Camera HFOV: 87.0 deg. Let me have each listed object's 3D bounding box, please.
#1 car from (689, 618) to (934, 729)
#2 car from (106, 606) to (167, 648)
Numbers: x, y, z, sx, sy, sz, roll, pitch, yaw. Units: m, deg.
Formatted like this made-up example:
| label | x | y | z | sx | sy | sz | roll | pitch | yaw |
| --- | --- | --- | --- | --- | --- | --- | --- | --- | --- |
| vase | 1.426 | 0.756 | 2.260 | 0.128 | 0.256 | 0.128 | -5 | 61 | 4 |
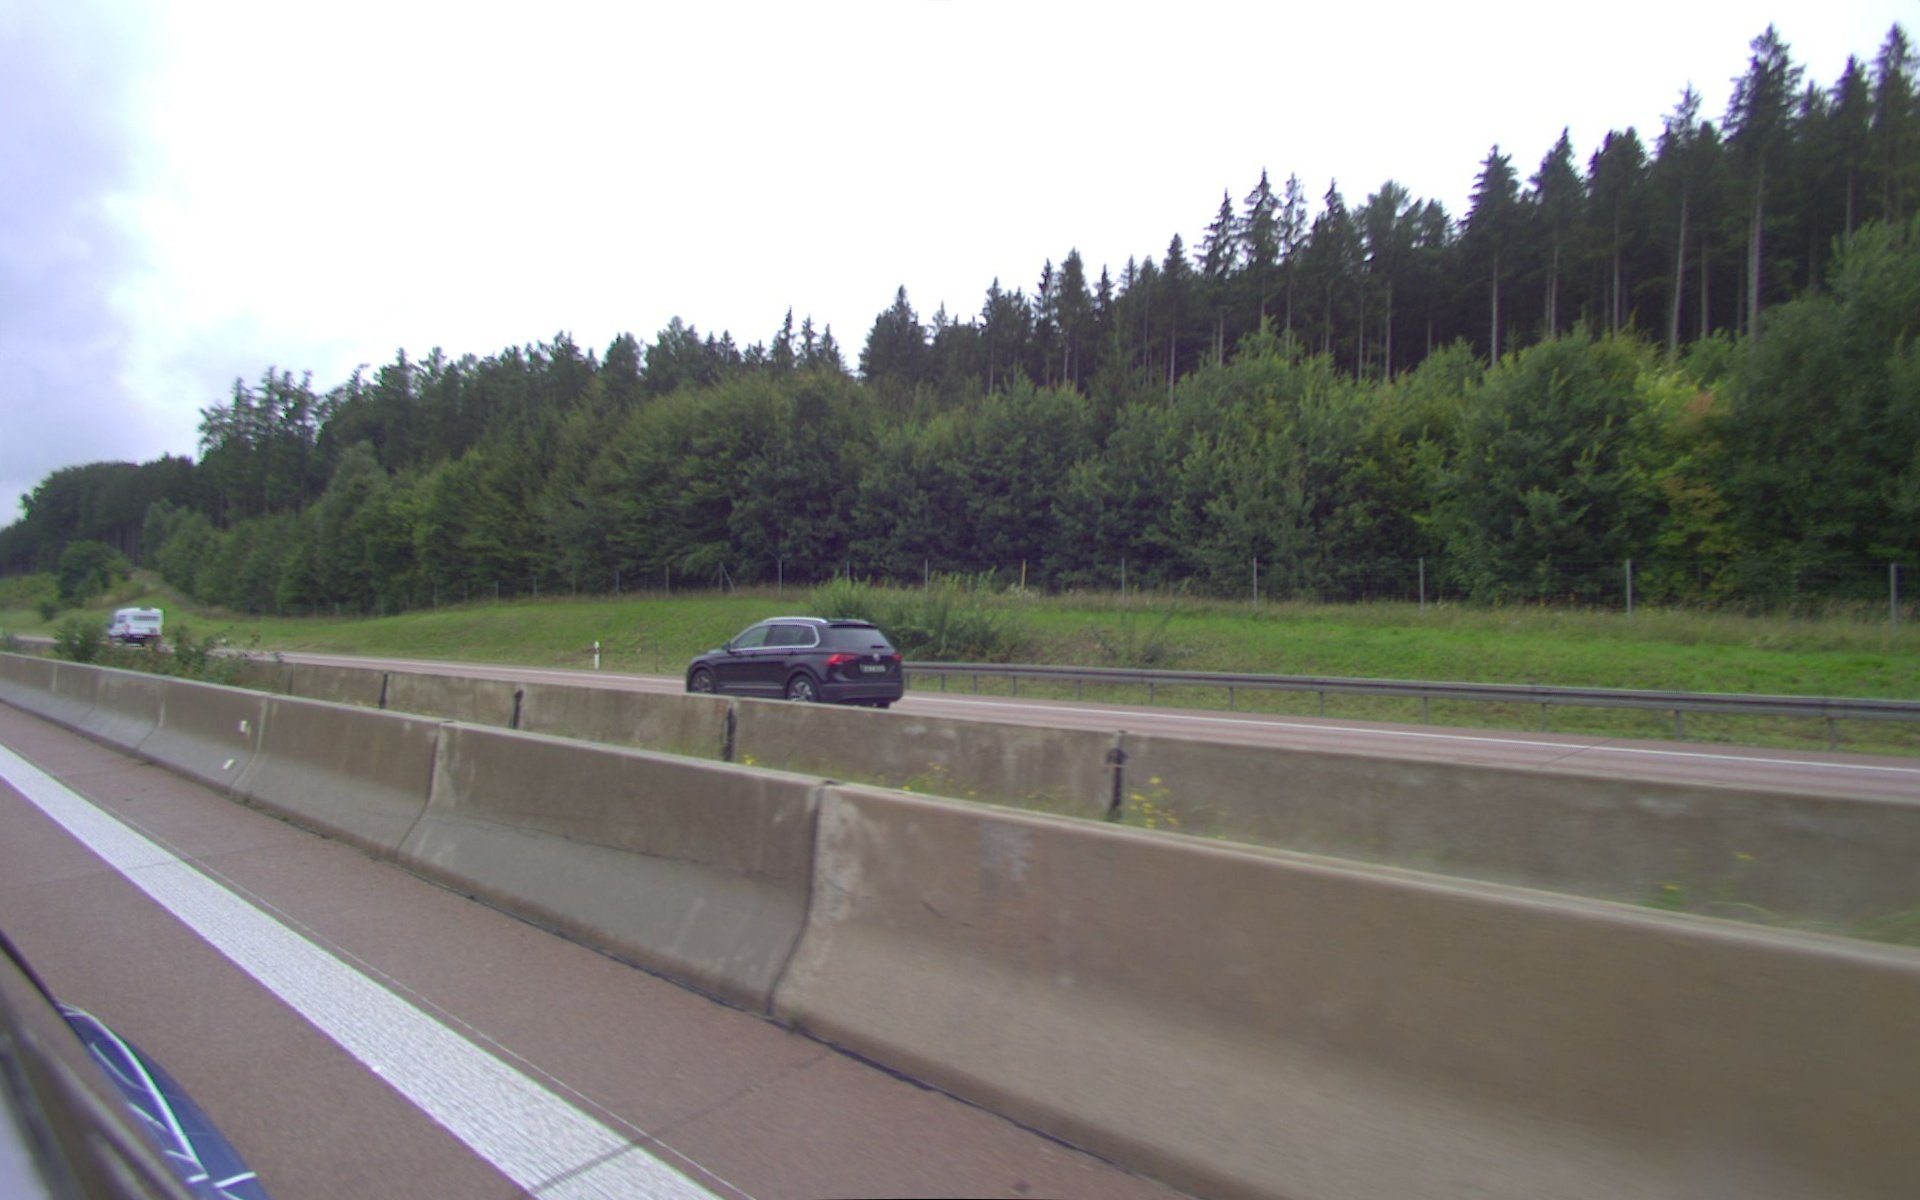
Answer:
| label | x | y | z | sx | sy | sz | roll | pitch | yaw |
| --- | --- | --- | --- | --- | --- | --- | --- | --- | --- |
| car | -2.610 | 1.140 | 17.162 | 4.313 | 1.594 | 1.698 | 0 | -1 | 41 |
| car | -55.579 | 1.743 | 68.255 | 6.252 | 2.604 | 2.200 | 0 | 1 | 41 |
